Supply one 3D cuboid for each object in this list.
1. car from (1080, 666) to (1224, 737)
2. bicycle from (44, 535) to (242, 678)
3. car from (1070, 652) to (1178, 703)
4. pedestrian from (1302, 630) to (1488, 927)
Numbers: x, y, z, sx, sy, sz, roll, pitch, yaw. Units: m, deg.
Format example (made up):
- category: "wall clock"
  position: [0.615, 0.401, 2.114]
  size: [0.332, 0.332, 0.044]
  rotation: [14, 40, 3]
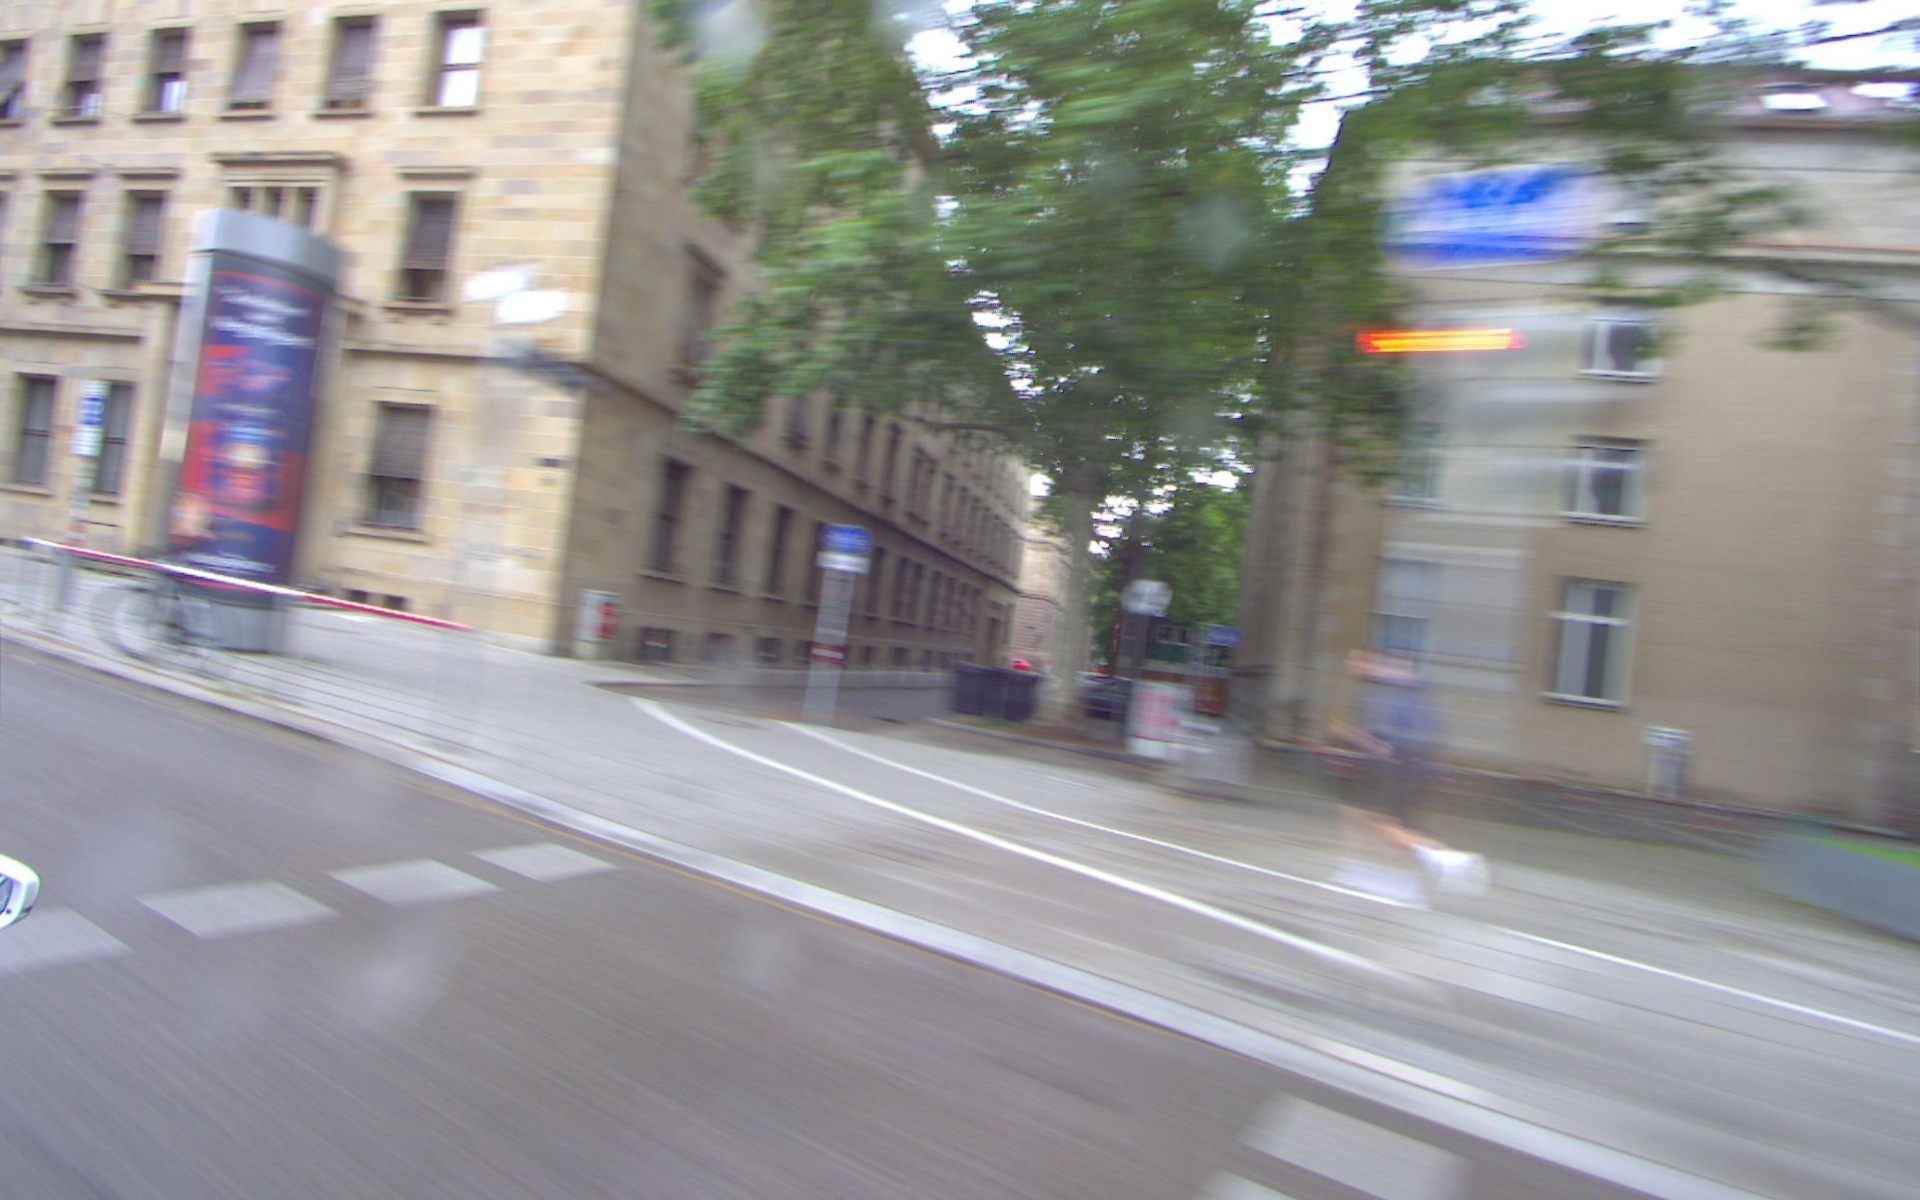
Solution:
- category: "car"
  position: [6.403, 3.342, 33.678]
  size: [4.456, 1.481, 1.889]
  rotation: [9, 1, 12]
- category: "bicycle"
  position: [-7.358, 0.047, 9.038]
  size: [1.893, 1.024, 0.490]
  rotation: [7, -1, 25]
- category: "car"
  position: [7.450, 3.499, 45.895]
  size: [4.590, 1.481, 1.889]
  rotation: [9, 1, 9]
- category: "pedestrian"
  position: [3.009, 1.180, 6.939]
  size: [0.848, 1.792, 0.780]
  rotation: [8, -1, 33]
